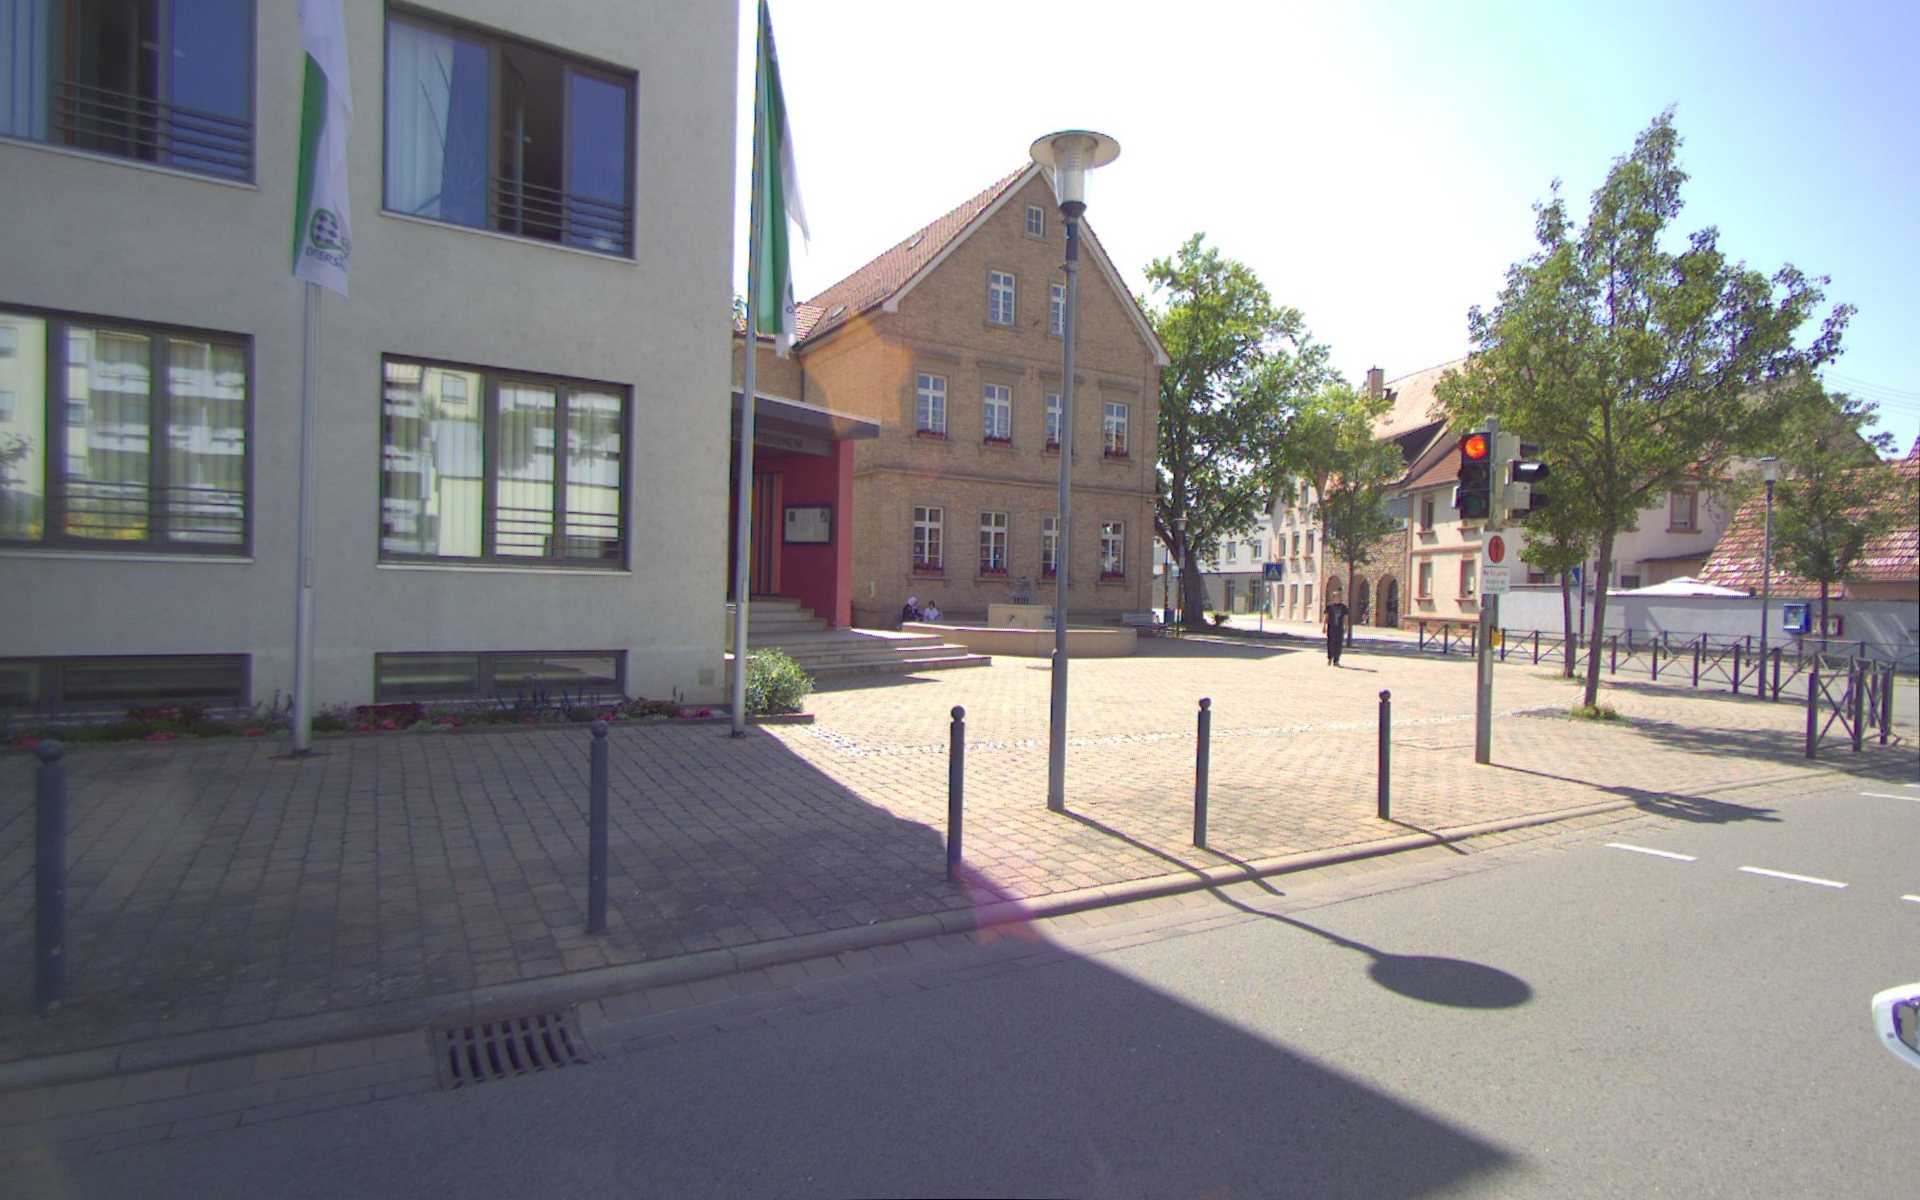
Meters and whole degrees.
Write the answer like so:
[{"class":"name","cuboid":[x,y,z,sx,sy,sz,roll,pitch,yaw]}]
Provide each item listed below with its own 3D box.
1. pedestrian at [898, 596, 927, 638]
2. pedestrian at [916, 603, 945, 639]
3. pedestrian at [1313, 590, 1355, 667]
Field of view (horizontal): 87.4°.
[{"class":"pedestrian","cuboid":[-1.398,0.490,29.346,0.610,1.186,0.636,1,1,-29]},{"class":"pedestrian","cuboid":[-0.881,0.608,29.713,0.610,1.041,0.636,1,1,-29]},{"class":"pedestrian","cuboid":[8.470,0.624,22.770,0.798,1.676,0.851,3,1,19]}]
